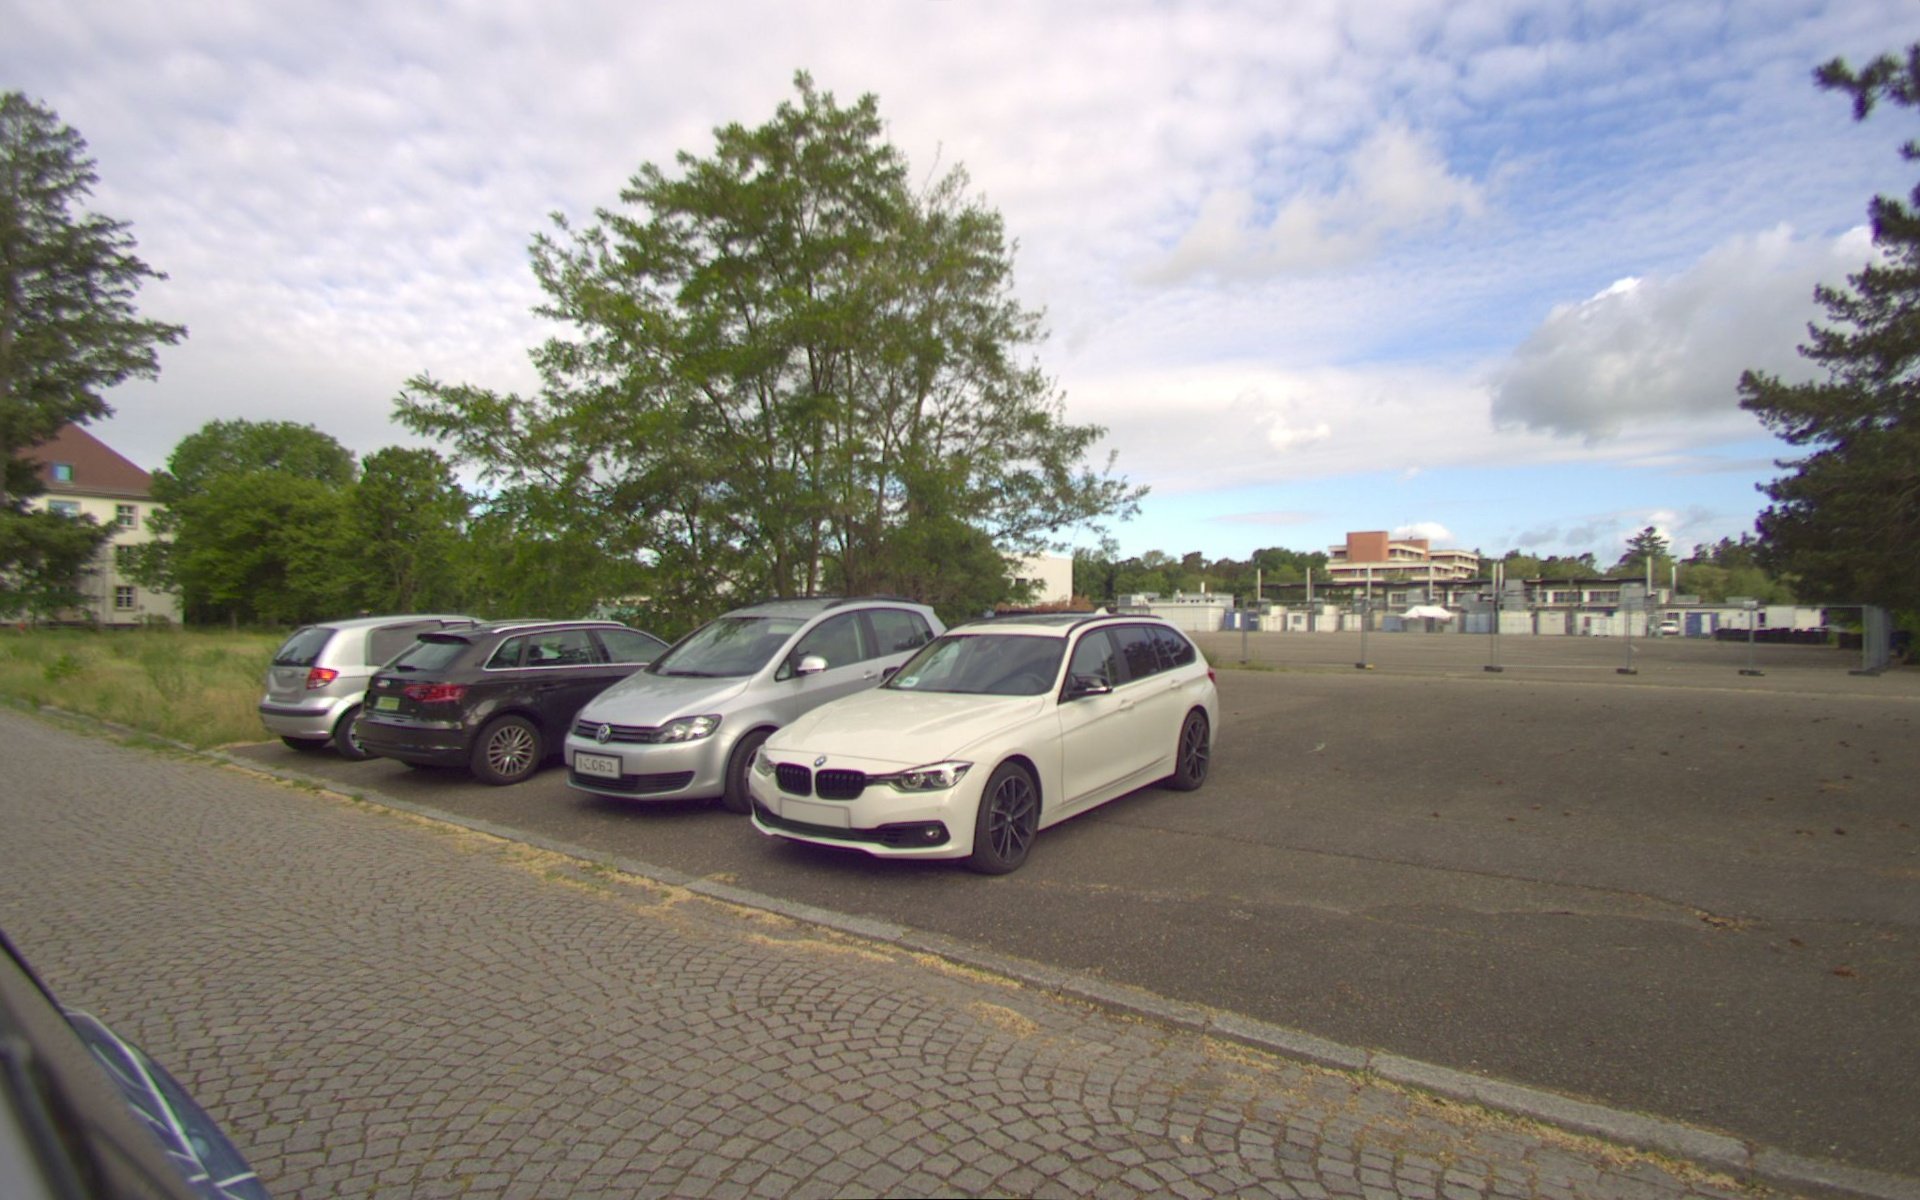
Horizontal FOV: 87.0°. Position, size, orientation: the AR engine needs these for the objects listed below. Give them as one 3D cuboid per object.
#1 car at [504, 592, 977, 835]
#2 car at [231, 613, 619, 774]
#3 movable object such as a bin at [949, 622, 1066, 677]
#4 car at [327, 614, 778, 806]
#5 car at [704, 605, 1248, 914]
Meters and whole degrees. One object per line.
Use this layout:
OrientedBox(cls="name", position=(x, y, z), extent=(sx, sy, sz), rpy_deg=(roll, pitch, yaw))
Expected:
OrientedBox(cls="car", position=(-1.653, 0.749, 8.865), extent=(1.720, 1.559, 3.954), rpy_deg=(-1, 1, 34))
OrientedBox(cls="car", position=(-6.151, 0.952, 12.004), extent=(1.804, 1.463, 3.648), rpy_deg=(-1, 1, 34))
OrientedBox(cls="movable object such as a bin", position=(1.104, 1.085, 23.022), extent=(1.500, 1.170, 2.365), rpy_deg=(-1, -2, 44))
OrientedBox(cls="car", position=(-3.941, 0.927, 10.370), extent=(1.748, 1.438, 3.950), rpy_deg=(-1, 1, 37))
OrientedBox(cls="car", position=(0.488, 0.830, 7.548), extent=(1.797, 1.454, 4.608), rpy_deg=(-1, 1, 35))
